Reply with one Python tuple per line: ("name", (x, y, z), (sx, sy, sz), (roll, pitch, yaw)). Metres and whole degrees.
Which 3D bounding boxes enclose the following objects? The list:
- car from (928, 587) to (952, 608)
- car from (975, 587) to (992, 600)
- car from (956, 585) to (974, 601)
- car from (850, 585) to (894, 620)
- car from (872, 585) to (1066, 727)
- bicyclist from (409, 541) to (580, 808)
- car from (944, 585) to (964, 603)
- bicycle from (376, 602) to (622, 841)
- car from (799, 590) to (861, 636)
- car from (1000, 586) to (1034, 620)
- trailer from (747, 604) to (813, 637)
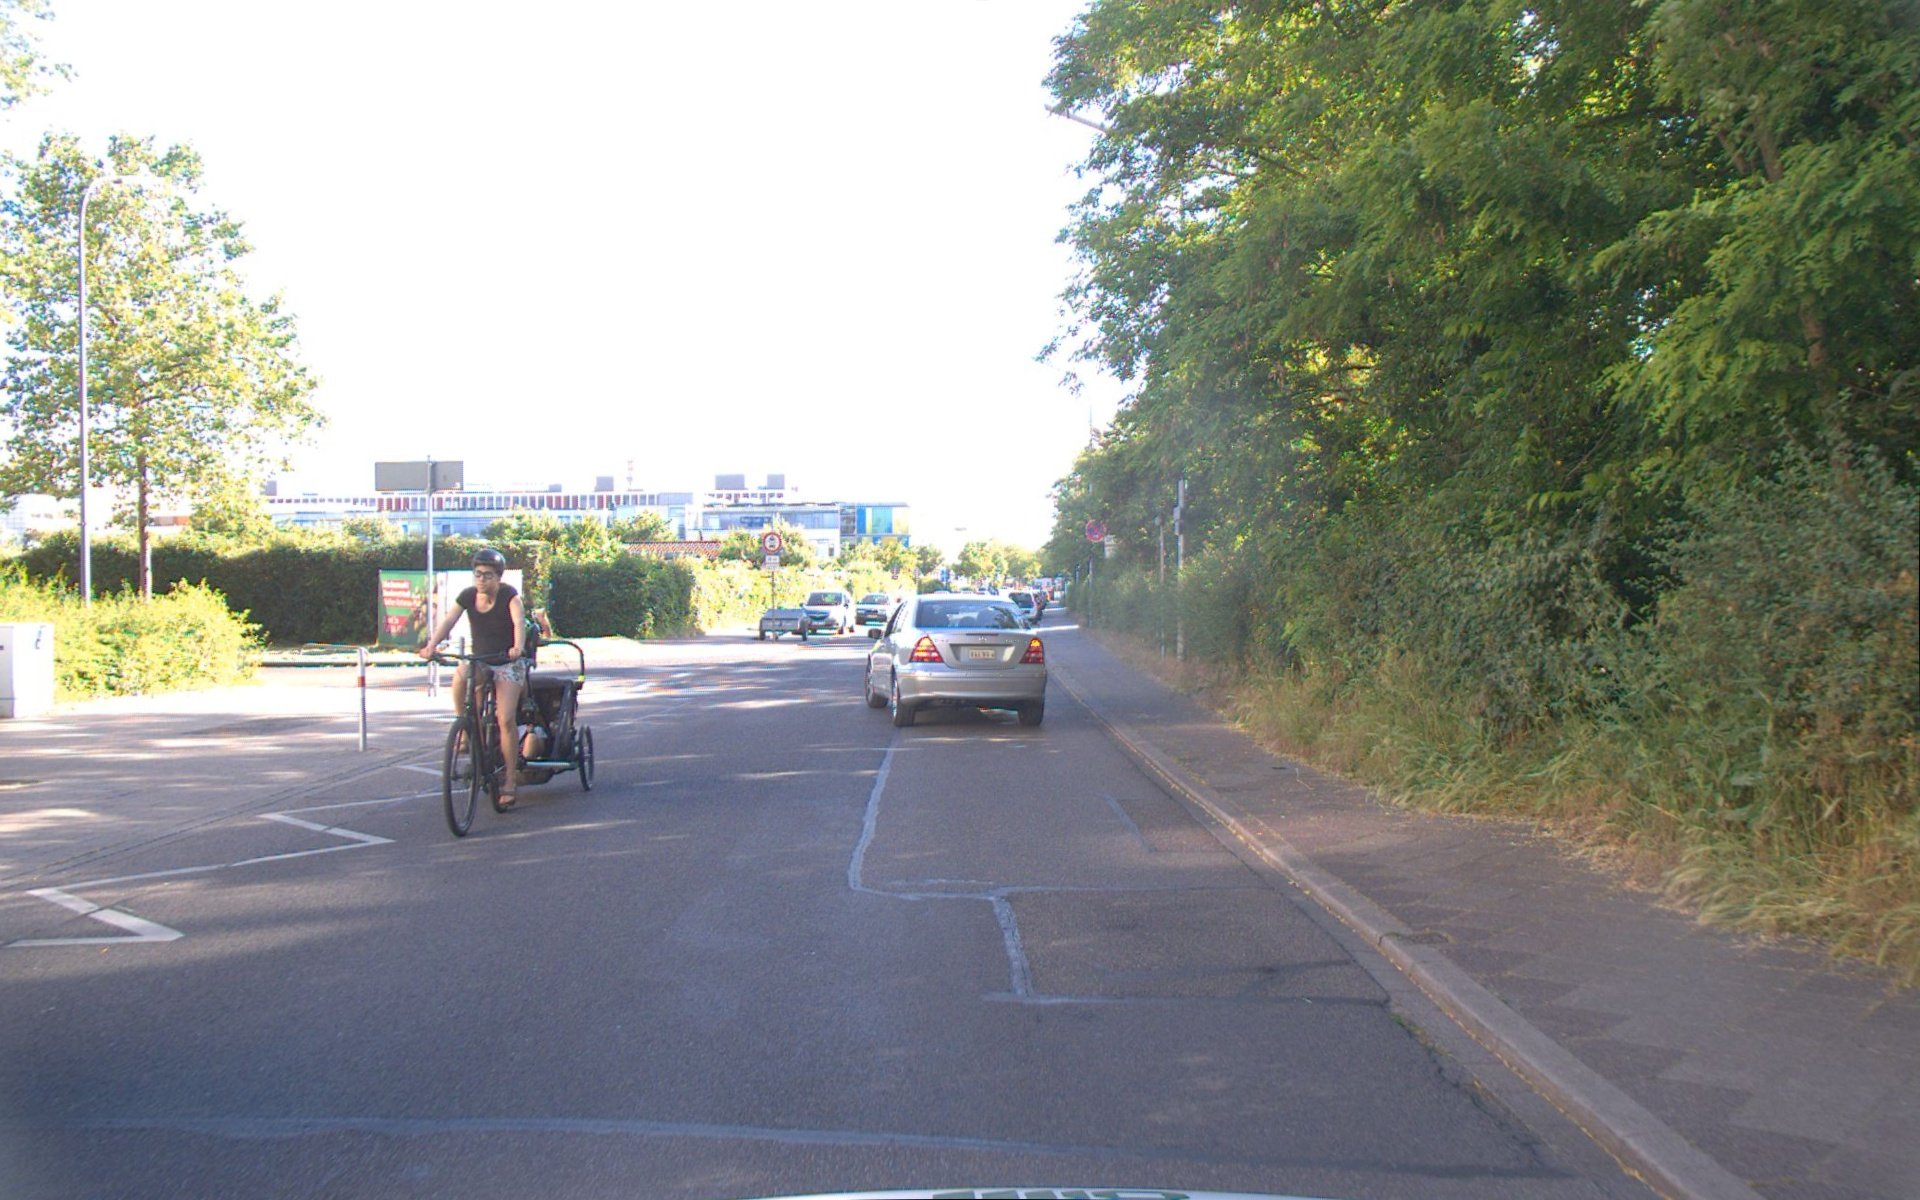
("car", (-1.512, -0.200, 125.874), (1.527, 1.521, 3.572), (-1, 0, 3))
("car", (2.703, -0.764, 190.331), (1.815, 1.453, 4.136), (1, 0, 3))
("car", (0.467, -0.719, 161.055), (1.527, 1.521, 3.760), (-1, 0, 3))
("car", (-4.174, 0.102, 78.981), (1.609, 1.583, 4.419), (-1, 0, 3))
("car", (-0.005, 0.565, 19.285), (1.705, 1.478, 3.993), (0, 0, -8))
("bicyclist", (-3.081, 0.472, 11.052), (0.827, 1.687, 1.064), (-1, 0, -1))
("car", (-0.526, -0.534, 144.031), (1.527, 1.521, 3.572), (2, 0, 3))
("bicycle", (-3.092, 0.729, 11.518), (0.833, 1.394, 3.220), (-1, 0, -1))
("car", (-4.772, 0.443, 61.285), (1.609, 1.628, 4.314), (1, 0, 5))
("car", (2.738, 0.123, 78.767), (1.523, 1.565, 3.557), (1, 0, 3))
("trailer", (-5.541, 0.628, 51.148), (1.511, 0.970, 2.649), (1, 0, 5))
